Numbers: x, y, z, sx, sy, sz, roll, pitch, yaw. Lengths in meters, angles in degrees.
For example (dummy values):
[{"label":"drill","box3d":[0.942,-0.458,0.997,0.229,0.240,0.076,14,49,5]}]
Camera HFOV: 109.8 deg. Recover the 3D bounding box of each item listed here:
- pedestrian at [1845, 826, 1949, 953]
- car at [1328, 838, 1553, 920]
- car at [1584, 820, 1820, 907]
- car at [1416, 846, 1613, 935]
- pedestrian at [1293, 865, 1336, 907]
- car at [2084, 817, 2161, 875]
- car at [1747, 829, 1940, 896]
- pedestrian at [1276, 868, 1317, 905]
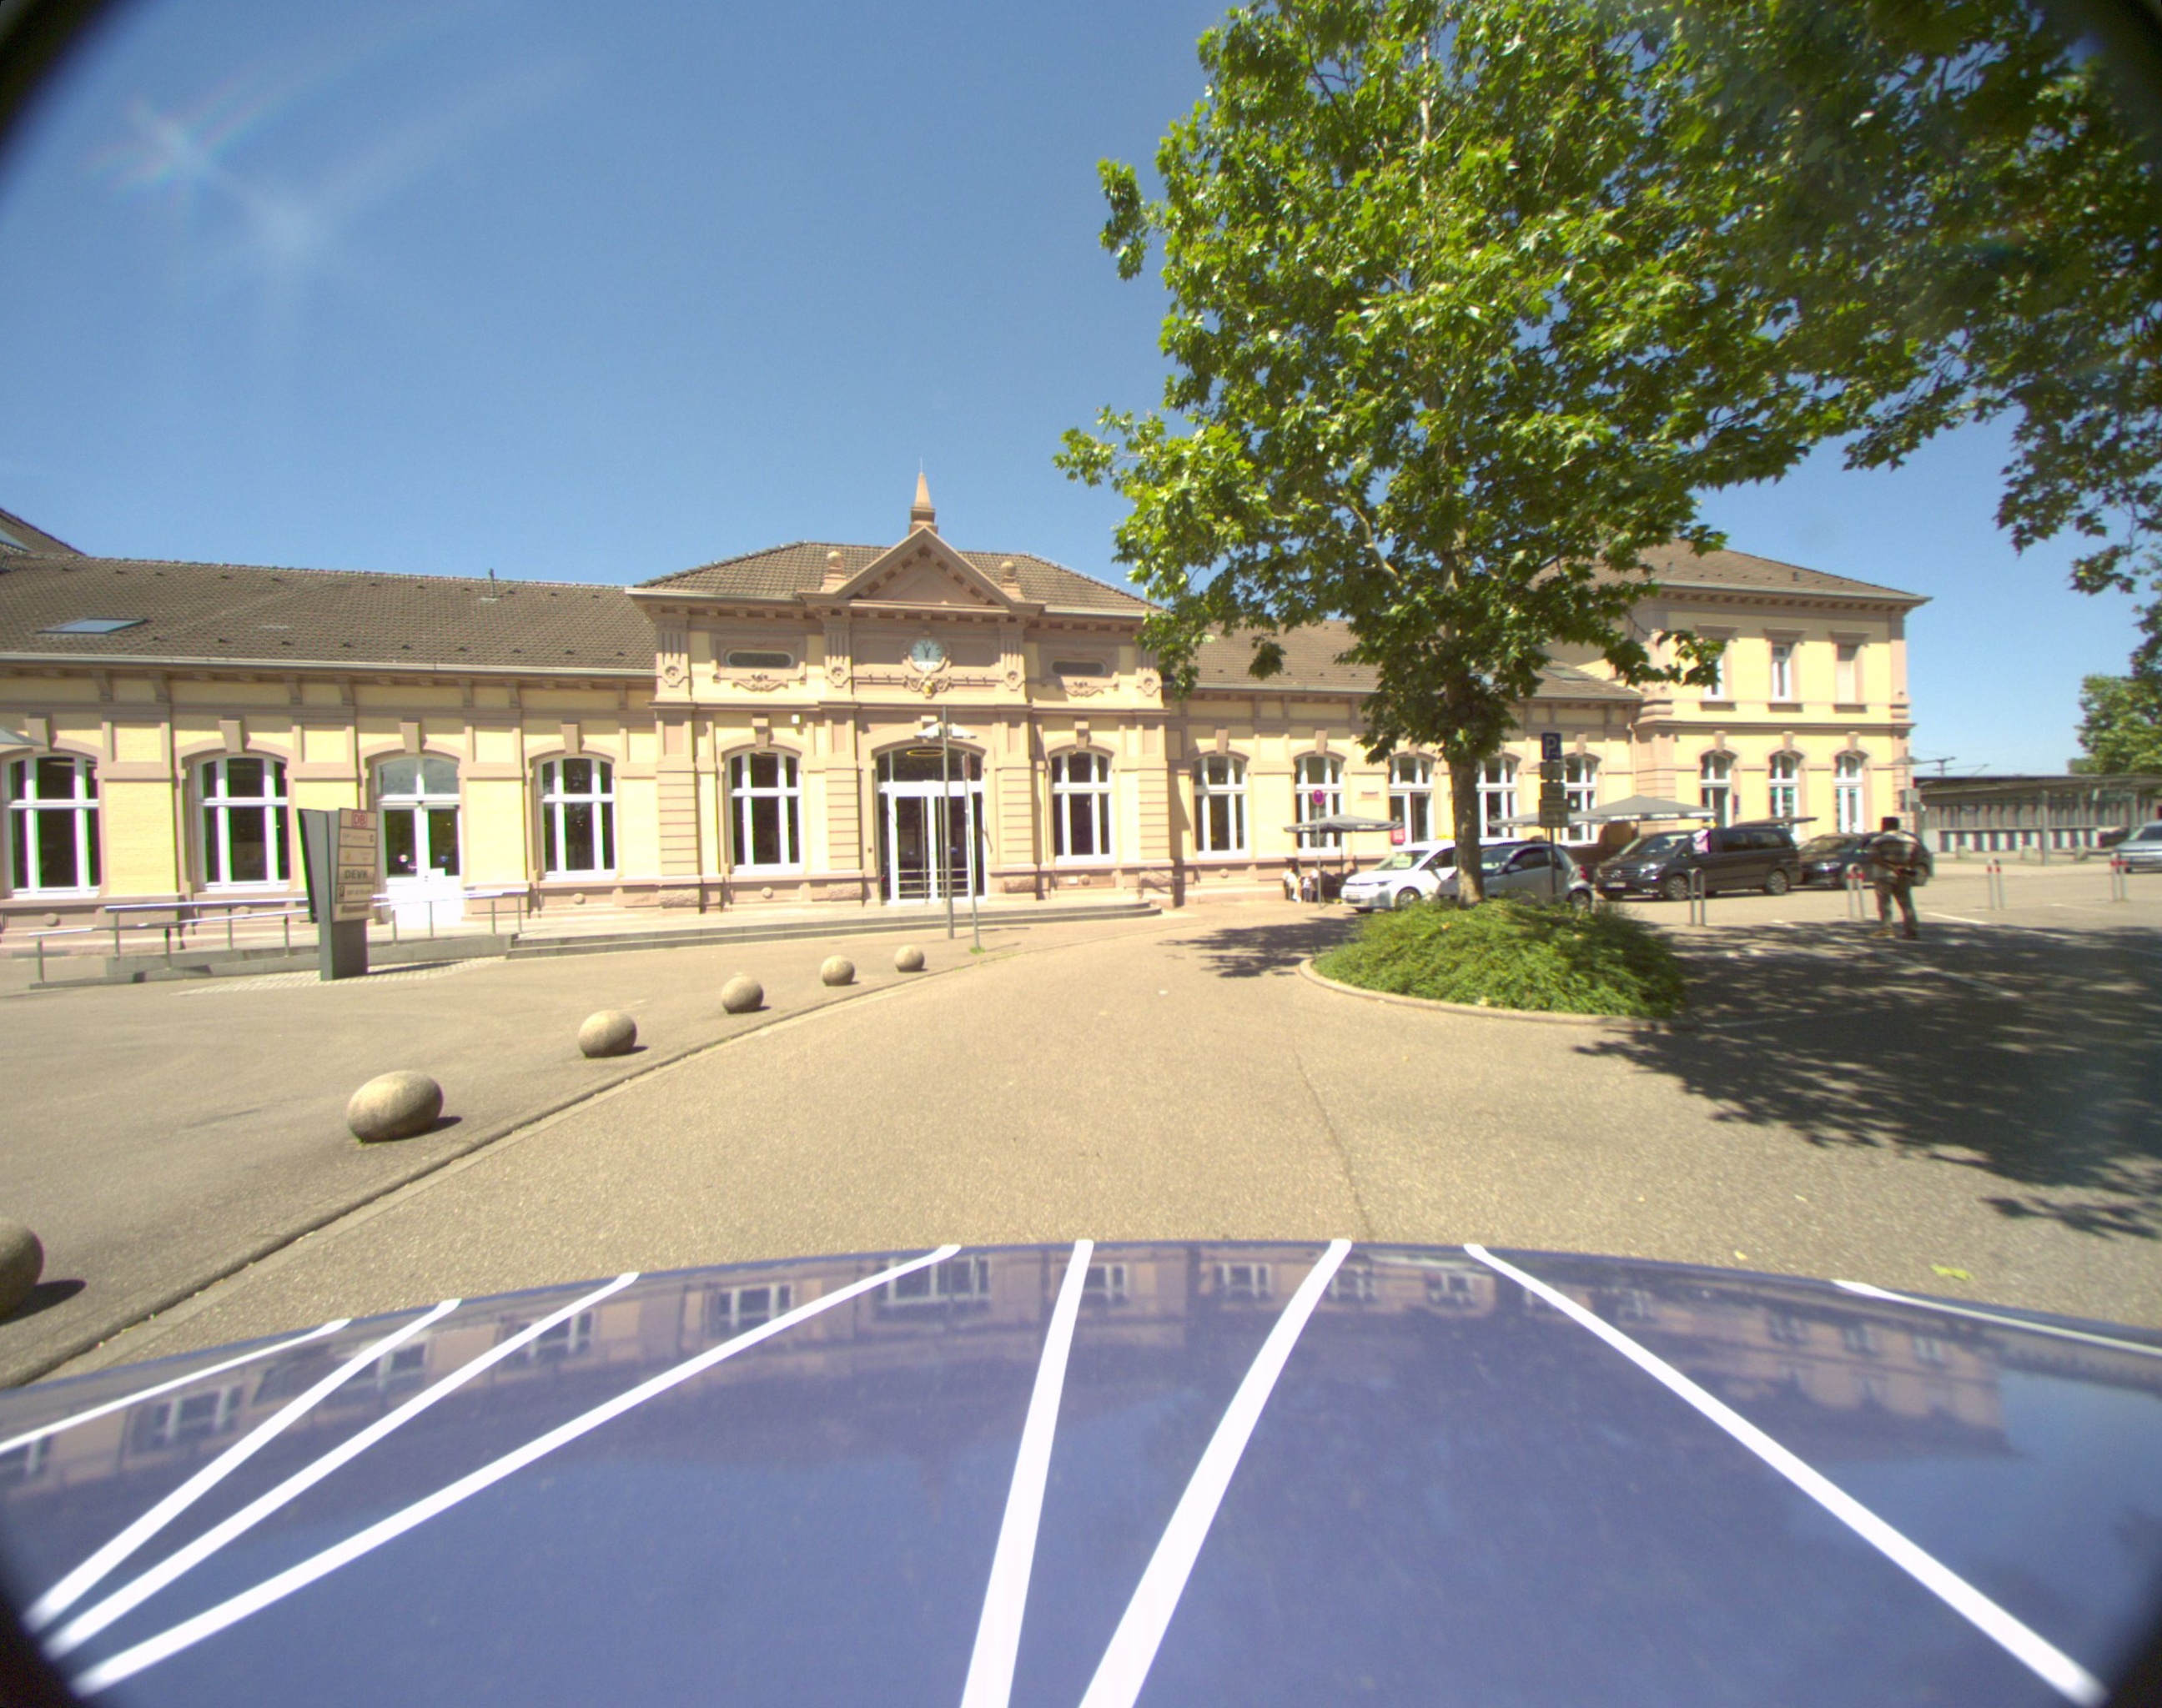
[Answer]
[{"label":"pedestrian","box3d":[11.537,0.488,10.777,0.772,1.707,0.816,-1,0,30]},{"label":"car","box3d":[8.961,0.585,19.010,5.142,1.854,1.813,-1,-1,-16]},{"label":"car","box3d":[16.639,0.235,20.368,5.830,2.111,2.091,-1,-1,-19]},{"label":"car","box3d":[8.605,0.684,15.200,3.107,1.584,1.600,-2,0,-10]},{"label":"pedestrian","box3d":[6.914,0.935,22.543,0.852,1.155,0.880,-2,2,-18]},{"label":"car","box3d":[37.140,-0.309,25.866,5.322,1.829,2.002,-2,-2,-19]},{"label":"car","box3d":[22.510,0.237,22.452,4.844,1.829,2.078,-1,-1,-19]},{"label":"pedestrian","box3d":[6.644,0.998,23.445,0.852,1.074,0.880,-2,2,-18]}]
